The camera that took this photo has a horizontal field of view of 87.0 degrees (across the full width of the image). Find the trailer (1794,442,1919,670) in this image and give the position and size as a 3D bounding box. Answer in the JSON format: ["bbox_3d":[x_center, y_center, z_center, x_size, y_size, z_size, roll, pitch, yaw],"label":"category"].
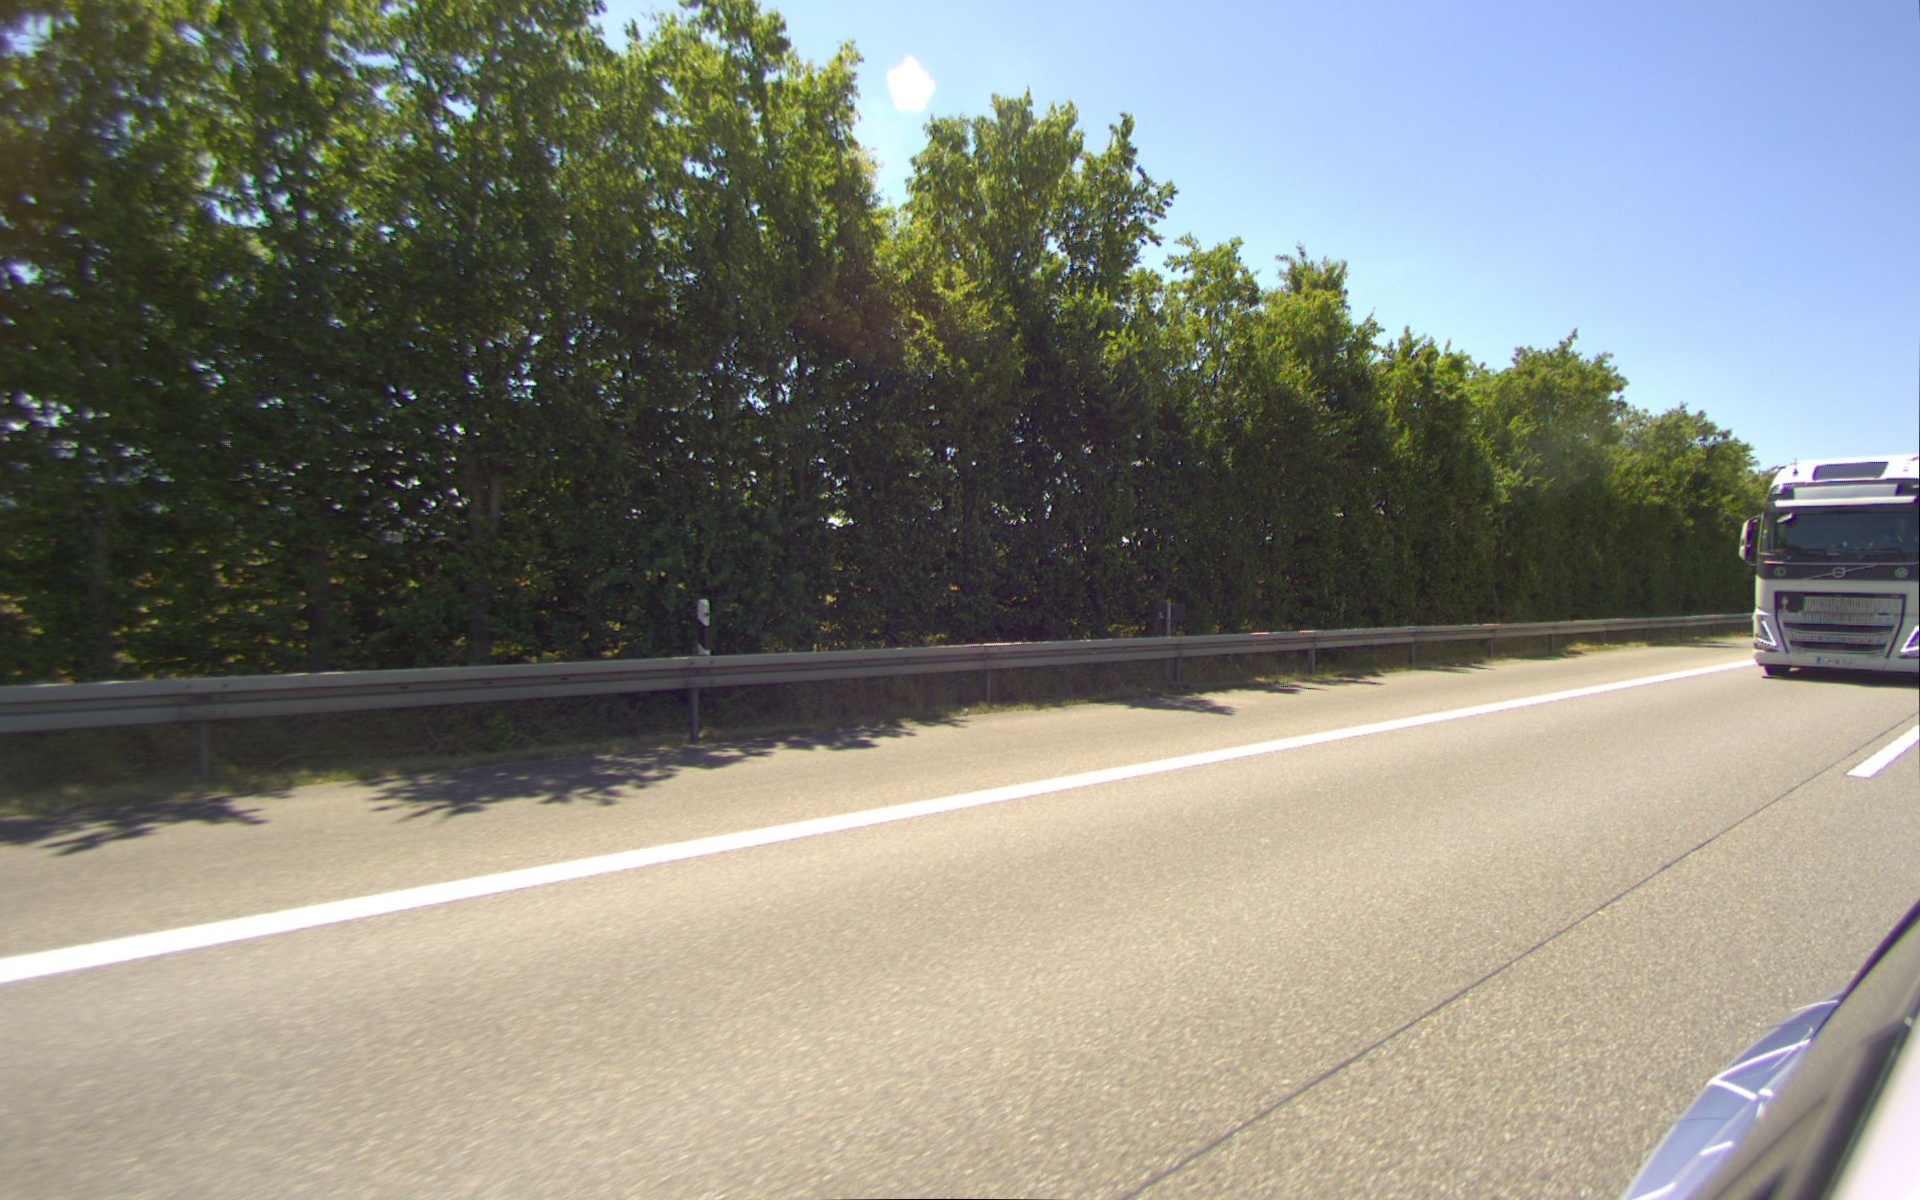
[{"bbox_3d":[22.179,-0.859,23.194,13.637,4.113,2.474,-1,0,-41],"label":"trailer"}]

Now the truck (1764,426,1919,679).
[{"bbox_3d":[17.489,-0.804,19.130,6.209,4.113,2.474,0,0,-41],"label":"truck"}]
